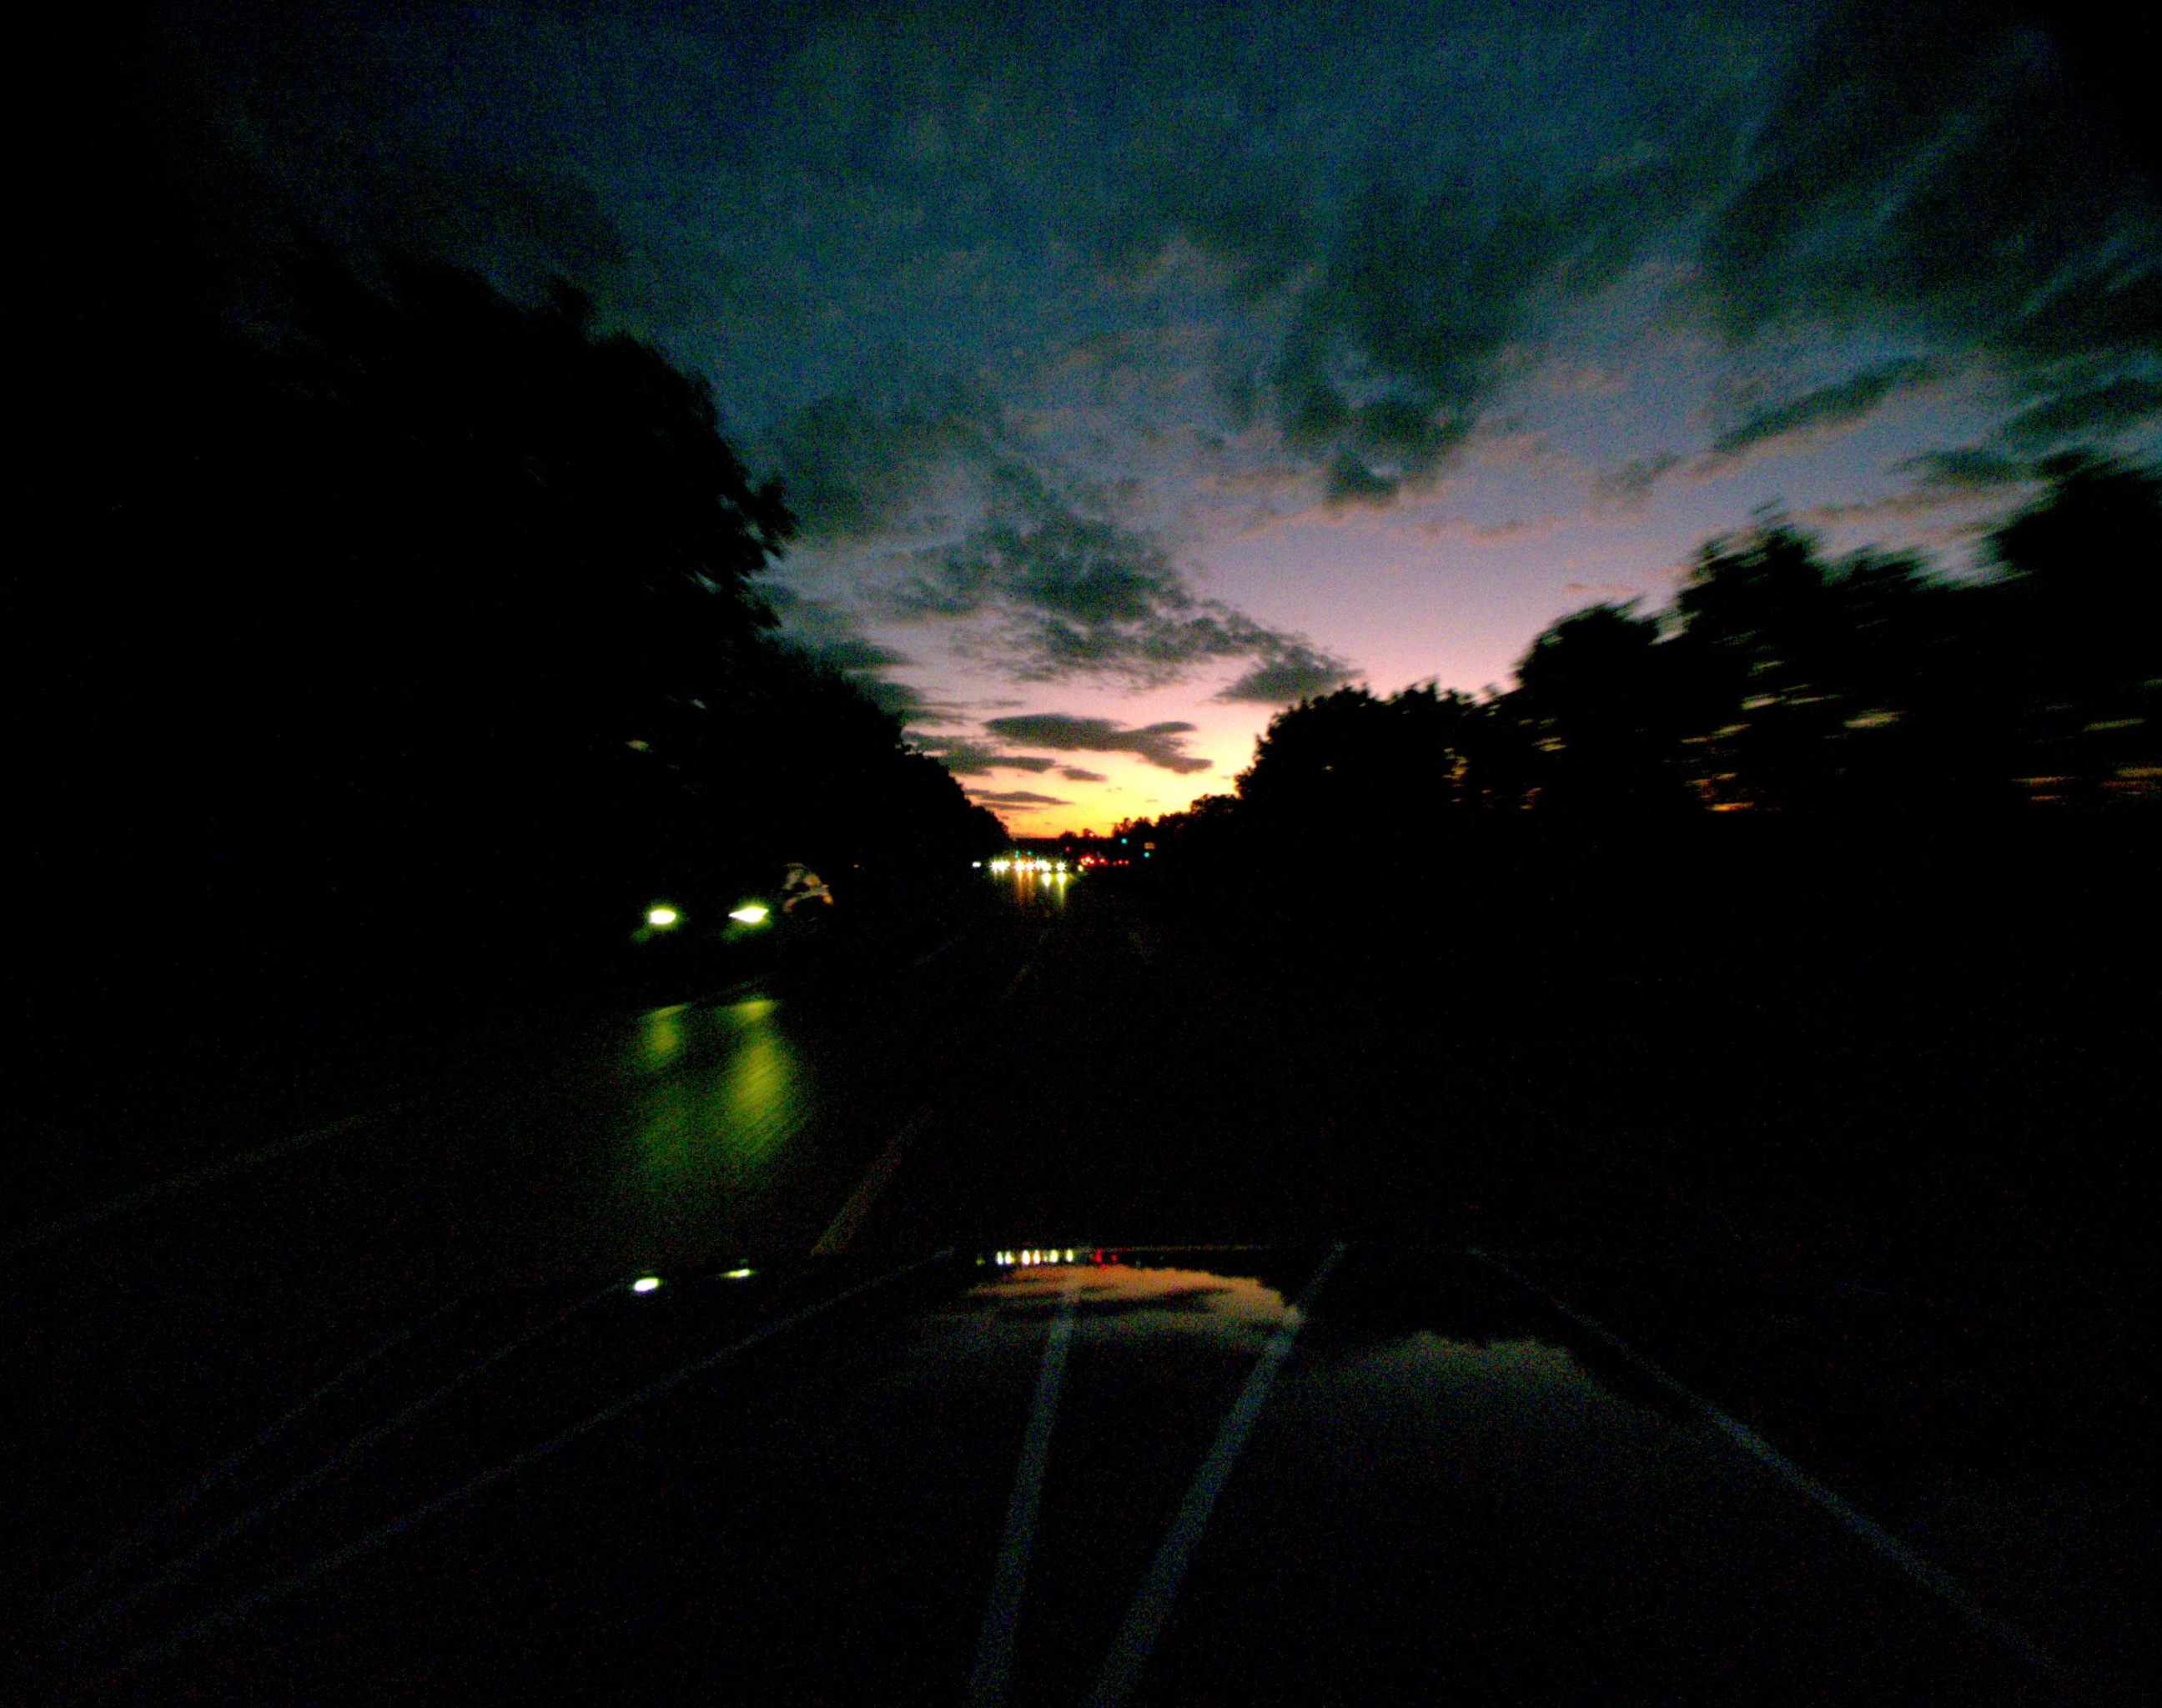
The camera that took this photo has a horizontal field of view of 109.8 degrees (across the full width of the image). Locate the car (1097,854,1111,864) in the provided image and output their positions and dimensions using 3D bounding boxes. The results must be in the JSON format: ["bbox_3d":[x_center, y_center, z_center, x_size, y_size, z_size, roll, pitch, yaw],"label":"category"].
[{"bbox_3d":[4.333,0.913,143.641,1.999,1.672,4.870,0,1,-5],"label":"car"}]

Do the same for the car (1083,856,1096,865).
[{"bbox_3d":[1.475,1.167,134.891,1.999,1.560,4.821,1,0,-2],"label":"car"}]

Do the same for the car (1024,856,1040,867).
[{"bbox_3d":[-6.459,1.004,99.588,1.999,1.444,3.998,1,0,-5],"label":"car"}]

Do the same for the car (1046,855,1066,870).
[{"bbox_3d":[-2.572,0.890,79.277,1.999,1.444,4.733,-1,0,-2],"label":"car"}]

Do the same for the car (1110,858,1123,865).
[{"bbox_3d":[7.051,1.452,150.666,1.999,1.444,4.733,0,-1,-4],"label":"car"}]

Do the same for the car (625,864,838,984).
[{"bbox_3d":[-5.680,1.018,13.072,1.906,1.610,4.554,-1,0,-5],"label":"car"}]

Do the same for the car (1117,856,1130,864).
[{"bbox_3d":[7.914,1.158,142.638,1.999,1.444,4.733,0,0,-3],"label":"car"}]
